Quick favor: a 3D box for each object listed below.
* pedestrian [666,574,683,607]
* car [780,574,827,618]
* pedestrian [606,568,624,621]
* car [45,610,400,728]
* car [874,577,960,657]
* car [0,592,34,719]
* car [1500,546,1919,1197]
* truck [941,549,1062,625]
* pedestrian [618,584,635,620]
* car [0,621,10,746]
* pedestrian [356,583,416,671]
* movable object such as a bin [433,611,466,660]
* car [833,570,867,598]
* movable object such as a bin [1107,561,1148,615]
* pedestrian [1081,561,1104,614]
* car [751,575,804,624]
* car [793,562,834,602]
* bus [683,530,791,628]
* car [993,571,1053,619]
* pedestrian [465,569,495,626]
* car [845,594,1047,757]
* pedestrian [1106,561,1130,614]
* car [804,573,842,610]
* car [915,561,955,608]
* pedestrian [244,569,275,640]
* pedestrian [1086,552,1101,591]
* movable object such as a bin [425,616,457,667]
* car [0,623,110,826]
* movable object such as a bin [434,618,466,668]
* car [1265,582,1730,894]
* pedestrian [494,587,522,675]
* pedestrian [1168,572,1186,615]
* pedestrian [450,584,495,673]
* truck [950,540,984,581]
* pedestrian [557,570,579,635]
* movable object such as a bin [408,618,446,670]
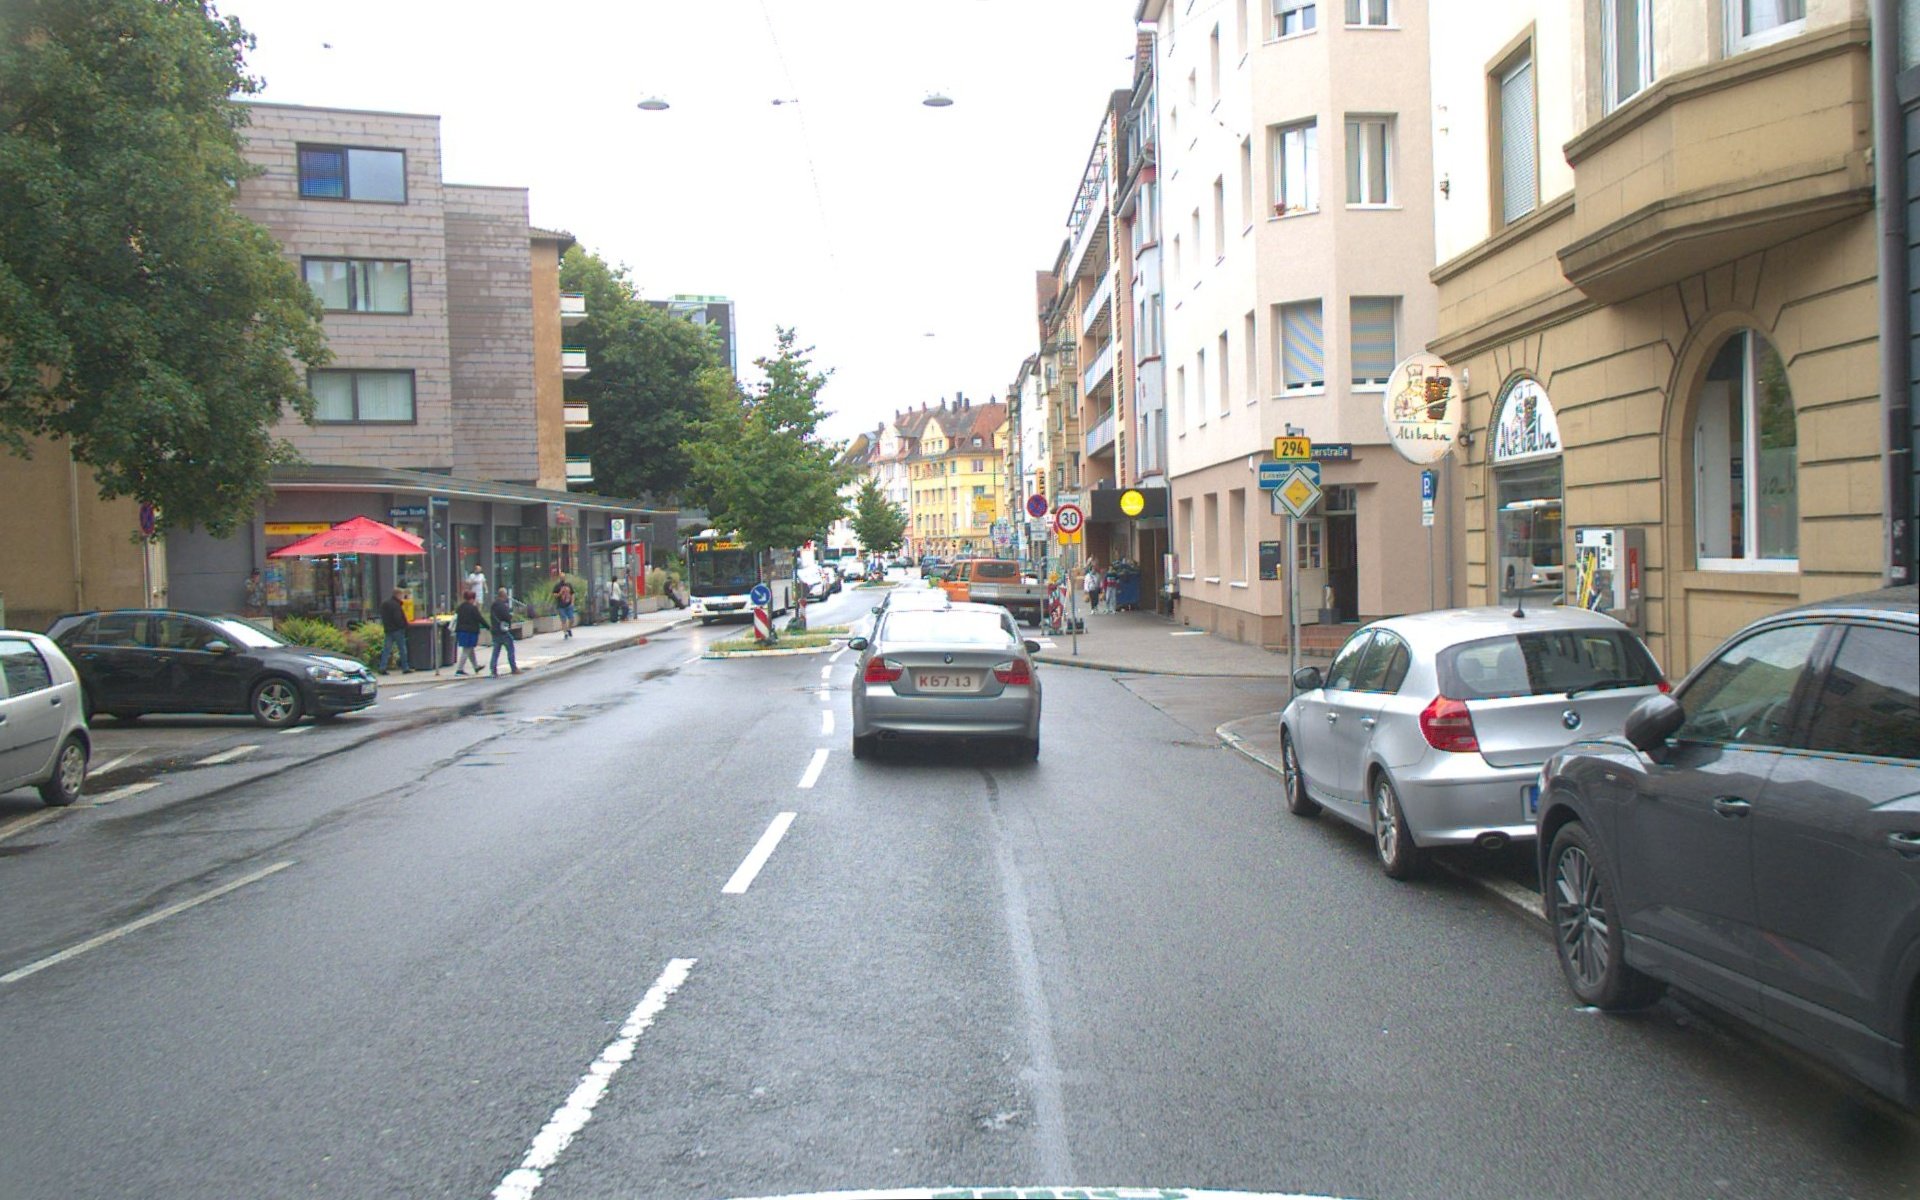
[{"bbox_3d":[-12.321,-0.409,71.383,0.607,1.402,0.544,1,-1,1],"label":"pedestrian"},{"bbox_3d":[-7.550,-0.173,80.330,1.953,2.049,3.999,1,-1,-1],"label":"car"},{"bbox_3d":[-11.562,-0.187,55.421,0.532,1.739,0.465,1,-1,-7],"label":"pedestrian"},{"bbox_3d":[-9.320,0.850,21.127,3.738,1.414,1.742,0,-1,-1],"label":"car"},{"bbox_3d":[-0.875,0.334,32.467,1.570,1.445,3.286,1,-1,-3],"label":"car"},{"bbox_3d":[-14.174,0.772,21.058,3.732,1.609,1.693,-1,2,-1],"label":"car"},{"bbox_3d":[3.225,0.629,4.894,1.781,1.585,4.293,-3,0,0],"label":"car"},{"bbox_3d":[1.213,-0.411,51.053,2.183,2.153,4.625,2,0,-20],"label":"truck"},{"bbox_3d":[-11.562,0.075,57.331,0.455,1.252,0.544,1,-1,1],"label":"pedestrian"},{"bbox_3d":[-12.863,1.052,18.205,3.737,1.413,1.744,-2,3,2],"label":"car"},{"bbox_3d":[-11.861,0.543,34.180,1.043,1.761,0.712,-1,1,-10],"label":"pedestrian"},{"bbox_3d":[-11.708,0.814,37.936,0.462,1.090,0.539,-3,-1,36],"label":"movable object such as a bin"},{"bbox_3d":[-8.532,-1.259,128.520,1.951,2.049,4.002,1,-1,5],"label":"car"},{"bbox_3d":[5.604,-0.403,55.329,1.100,1.732,1.433,-2,-1,-3],"label":"movable object such as a bin"},{"bbox_3d":[4.367,-0.408,54.509,0.733,1.690,0.837,1,-1,6],"label":"pedestrian"},{"bbox_3d":[-8.074,0.008,73.427,1.953,2.049,3.999,1,-1,-1],"label":"car"},{"bbox_3d":[-8.003,-0.971,90.517,1.953,2.049,3.999,1,-1,-1],"label":"car"},{"bbox_3d":[-8.099,-0.651,61.556,2.627,3.256,11.952,1,-1,-1],"label":"bus"},{"bbox_3d":[2.097,-0.174,55.878,1.772,1.545,3.999,0,1,-1],"label":"car"},{"bbox_3d":[-14.708,-0.067,50.693,0.656,1.735,0.650,2,-1,-42],"label":"pedestrian"},{"bbox_3d":[-0.128,0.660,15.666,1.720,1.386,3.164,0,-1,-1],"label":"car"},{"bbox_3d":[5.128,-0.395,53.717,0.734,1.690,0.755,1,-1,6],"label":"pedestrian"},{"bbox_3d":[-8.004,-0.478,97.025,1.953,2.049,3.999,1,-1,-1],"label":"car"},{"bbox_3d":[-1.153,-0.670,74.729,1.671,2.049,3.998,1,-1,-3],"label":"car"},{"bbox_3d":[-18.346,0.111,43.309,0.627,1.847,0.631,-2,1,-30],"label":"pedestrian"},{"bbox_3d":[5.851,-1.250,72.379,0.602,1.690,0.755,1,-1,6],"label":"pedestrian"},{"bbox_3d":[-11.483,0.913,36.616,0.480,1.100,0.606,-2,-1,0],"label":"movable object such as a bin"},{"bbox_3d":[-7.985,0.966,12.241,1.599,1.479,3.836,-1,0,-4],"label":"car"},{"bbox_3d":[-11.481,0.968,37.255,0.480,1.100,0.606,-2,-1,0],"label":"movable object such as a bin"},{"bbox_3d":[3.098,0.688,10.415,1.537,1.489,4.089,-3,0,0],"label":"car"},{"bbox_3d":[-8.969,0.614,32.810,0.458,1.739,0.541,1,-1,-21],"label":"pedestrian"},{"bbox_3d":[6.371,-0.197,48.585,0.404,1.223,0.357,-4,2,2],"label":"pedestrian"},{"bbox_3d":[-9.832,0.563,33.353,0.729,1.738,0.676,-4,1,-21],"label":"pedestrian"},{"bbox_3d":[0.456,-2.647,112.613,2.172,2.589,4.778,1,-1,-1],"label":"truck"},{"bbox_3d":[-11.196,0.079,47.222,0.533,1.821,0.465,1,-1,-9],"label":"pedestrian"},{"bbox_3d":[-11.523,0.943,35.786,0.542,1.100,0.731,-2,-1,0],"label":"movable object such as a bin"}]
